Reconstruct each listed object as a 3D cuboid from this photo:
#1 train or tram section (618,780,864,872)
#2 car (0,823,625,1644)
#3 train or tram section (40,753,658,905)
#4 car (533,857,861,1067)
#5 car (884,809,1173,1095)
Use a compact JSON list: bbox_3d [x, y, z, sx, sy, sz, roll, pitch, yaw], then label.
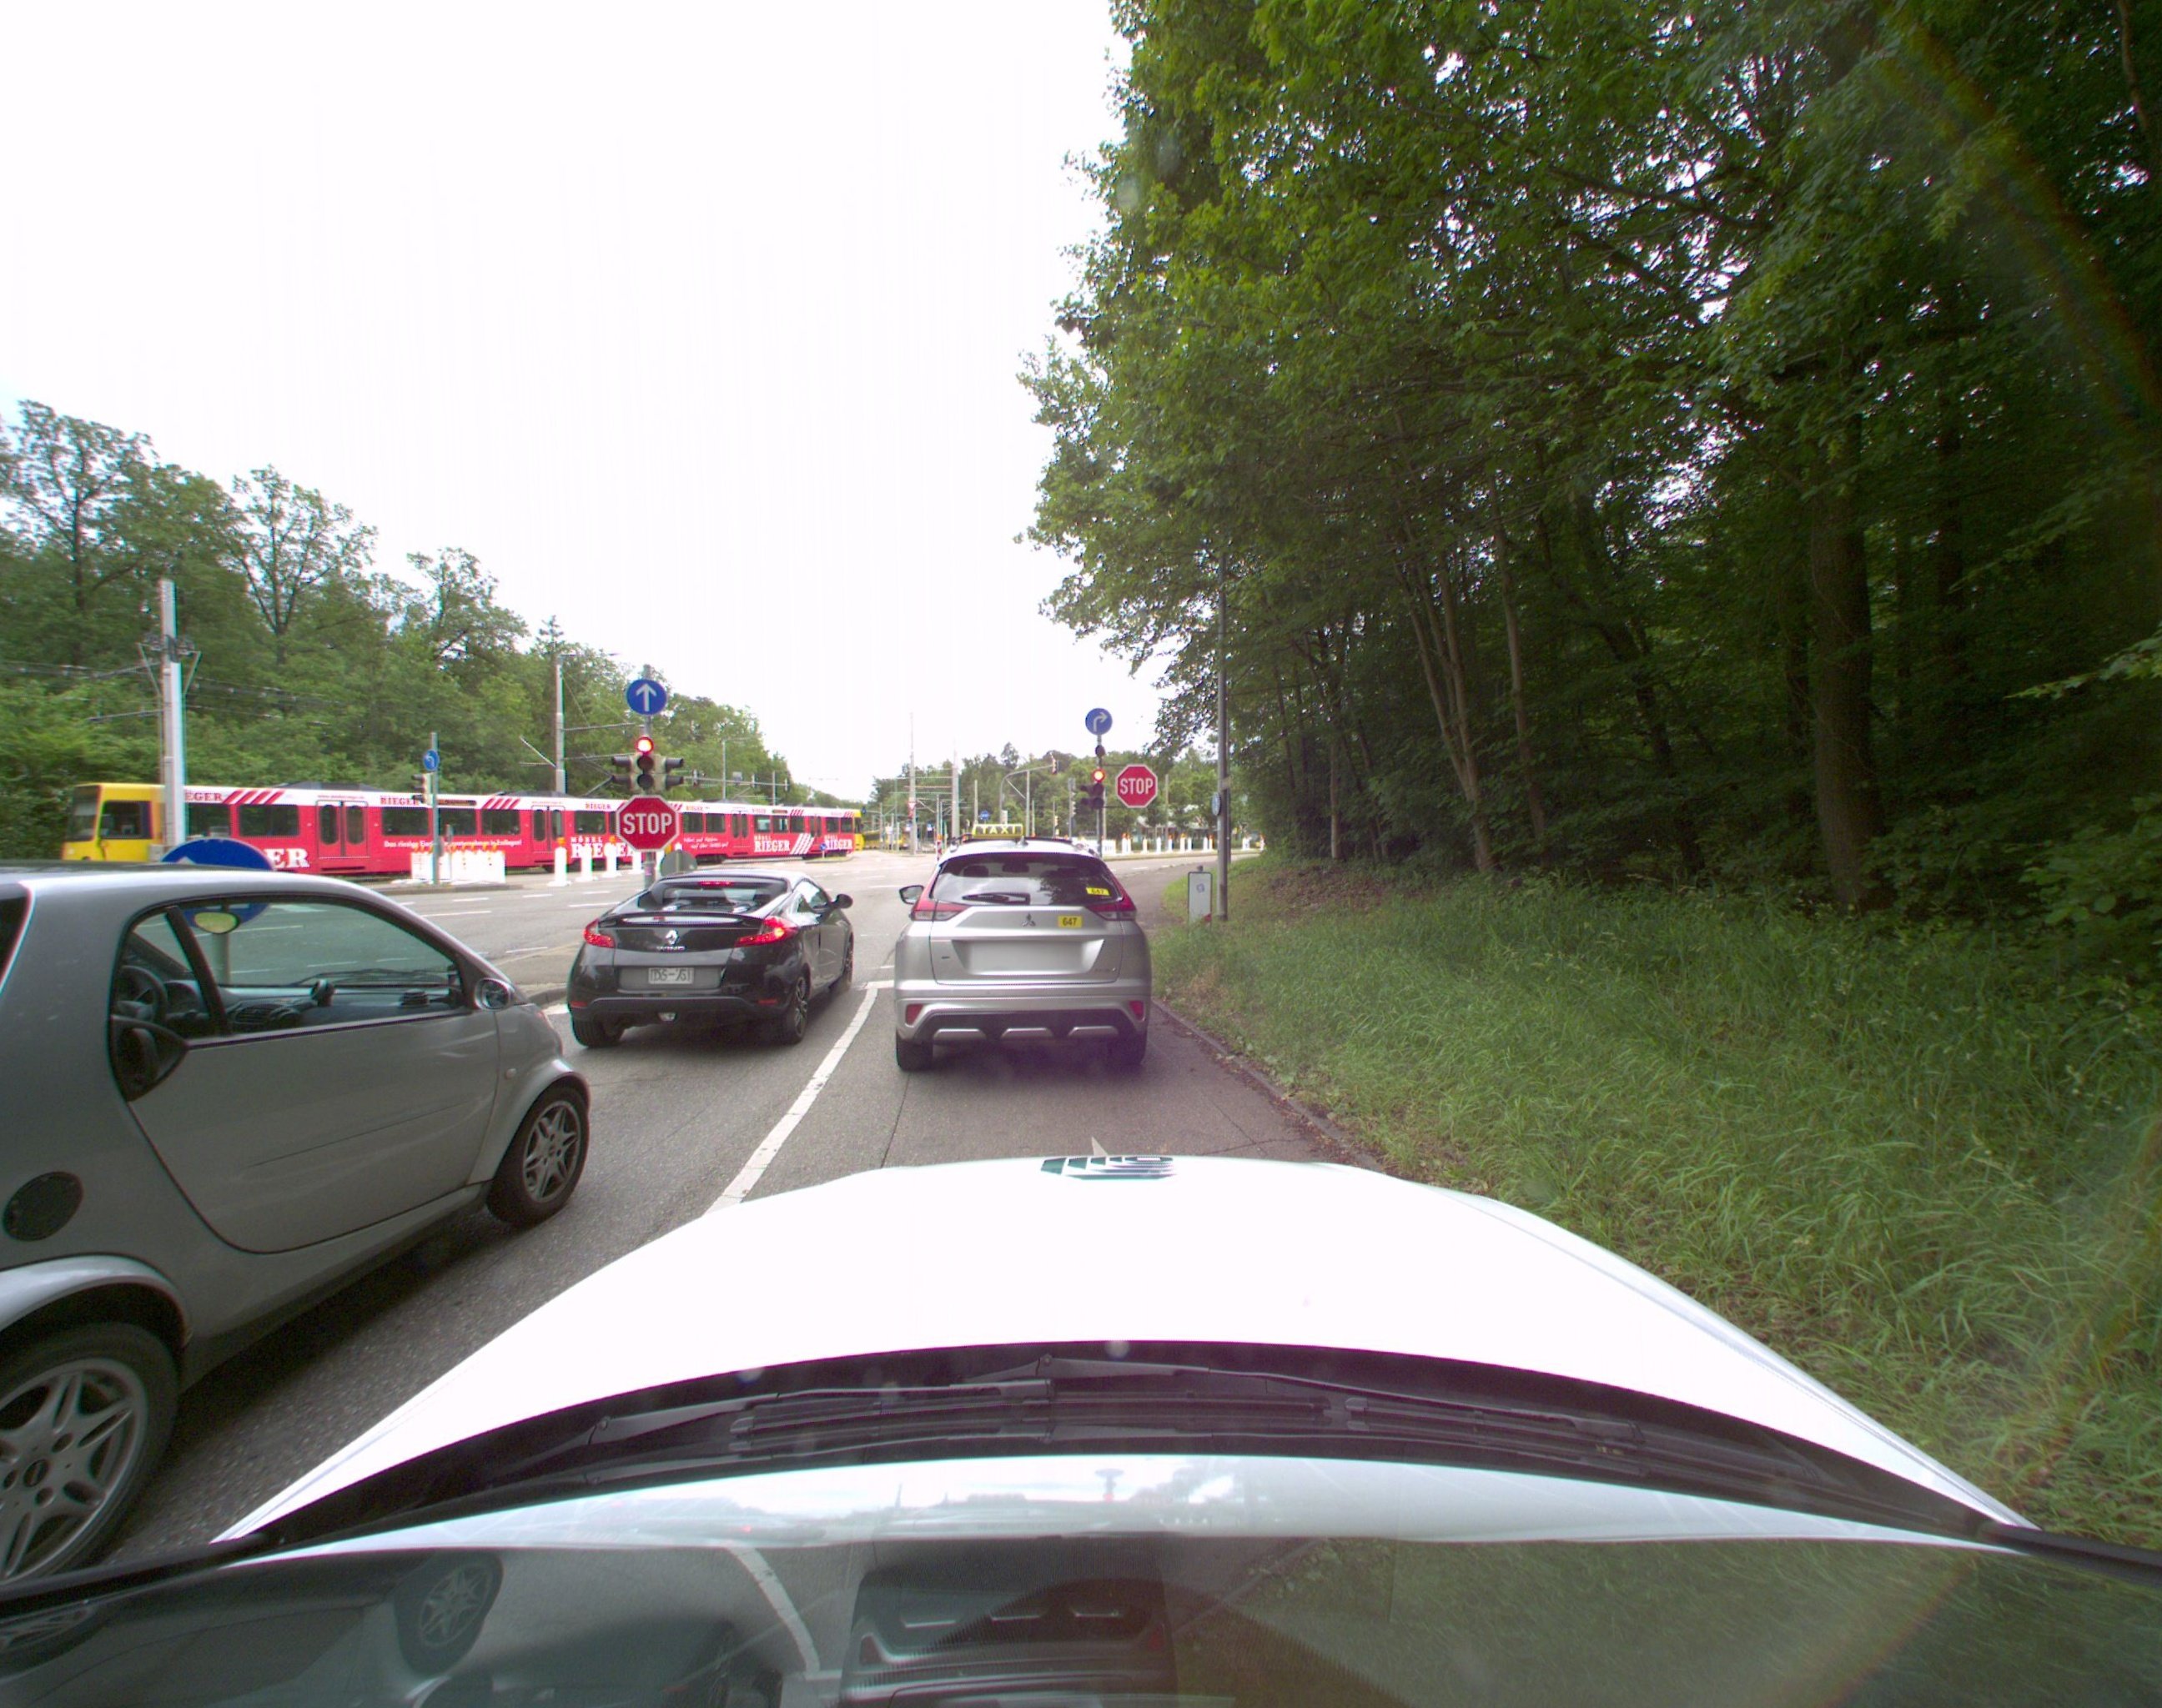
[{"bbox_3d":[-19.760,-1.366,50.412,2.924,4.650,18.624,-1,-1,16],"label":"train or tram section"},{"bbox_3d":[-2.908,0.733,2.607,1.455,1.586,2.724,-1,1,-4],"label":"car"},{"bbox_3d":[-26.488,-0.684,32.818,2.929,4.418,18.837,-1,-1,25],"label":"train or tram section"},{"bbox_3d":[-3.184,0.766,7.545,1.773,1.361,3.466,-1,1,-9],"label":"car"},{"bbox_3d":[-0.519,0.586,6.960,1.772,1.748,3.772,1,1,-7],"label":"car"}]
